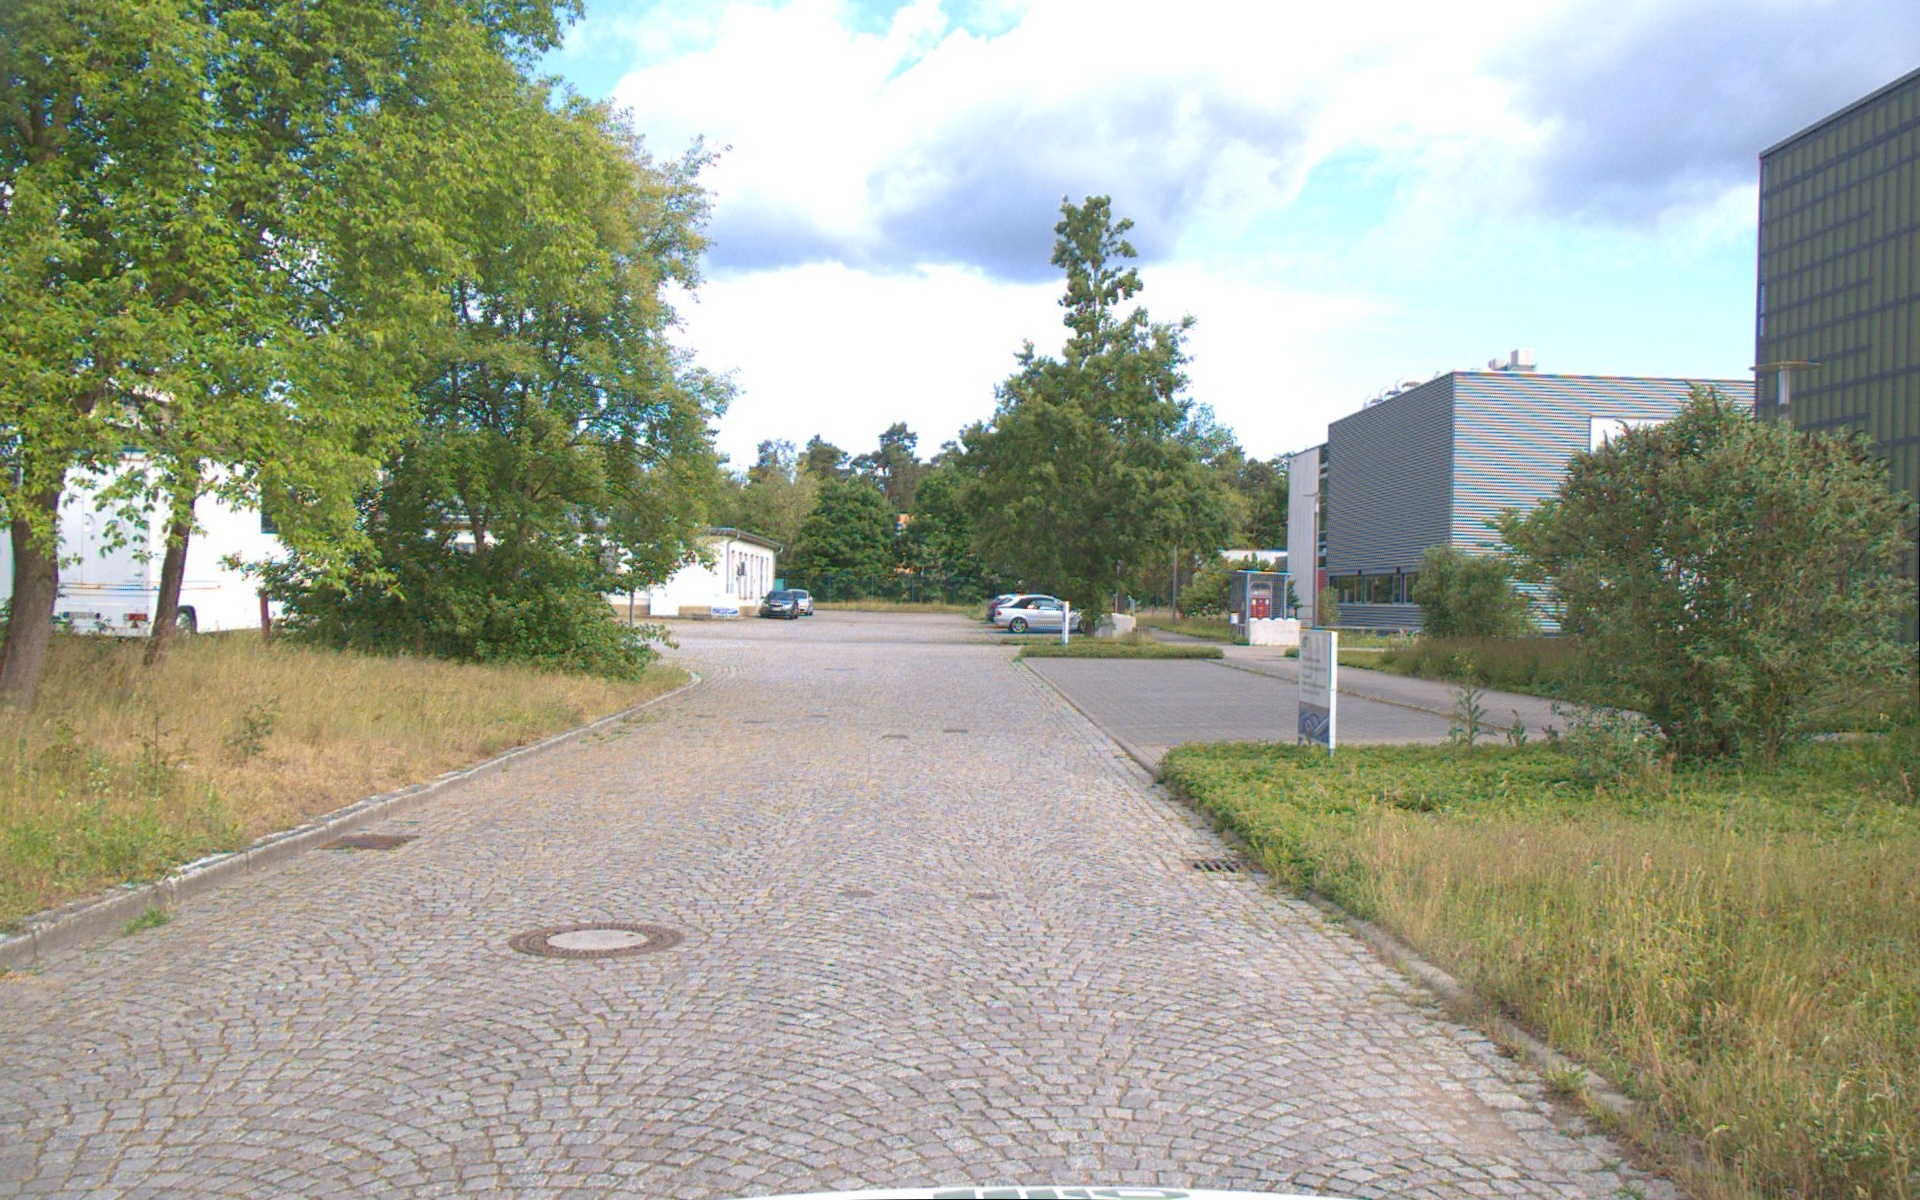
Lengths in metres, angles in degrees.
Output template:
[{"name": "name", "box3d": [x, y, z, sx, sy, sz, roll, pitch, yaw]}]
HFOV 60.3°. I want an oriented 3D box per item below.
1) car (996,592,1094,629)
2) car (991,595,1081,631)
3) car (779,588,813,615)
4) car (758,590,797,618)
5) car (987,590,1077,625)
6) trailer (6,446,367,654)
[{"name": "car", "box3d": [3.477, 0.411, 68.142, 3.903, 1.473, 1.653, -1, 0, -1]}, {"name": "car", "box3d": [2.991, 0.516, 65.438, 3.451, 1.386, 1.622, -1, 0, -1]}, {"name": "car", "box3d": [-9.597, 0.064, 97.080, 1.614, 1.484, 3.997, 1, 0, -1]}, {"name": "car", "box3d": [-9.525, 0.178, 86.700, 1.614, 1.393, 3.997, 1, 0, -1]}, {"name": "car", "box3d": [3.153, 0.326, 73.268, 3.903, 1.501, 1.653, -1, 0, -1]}, {"name": "trailer", "box3d": [-15.744, -0.914, 34.856, 2.571, 3.660, 10.178, 1, 0, 1]}]
